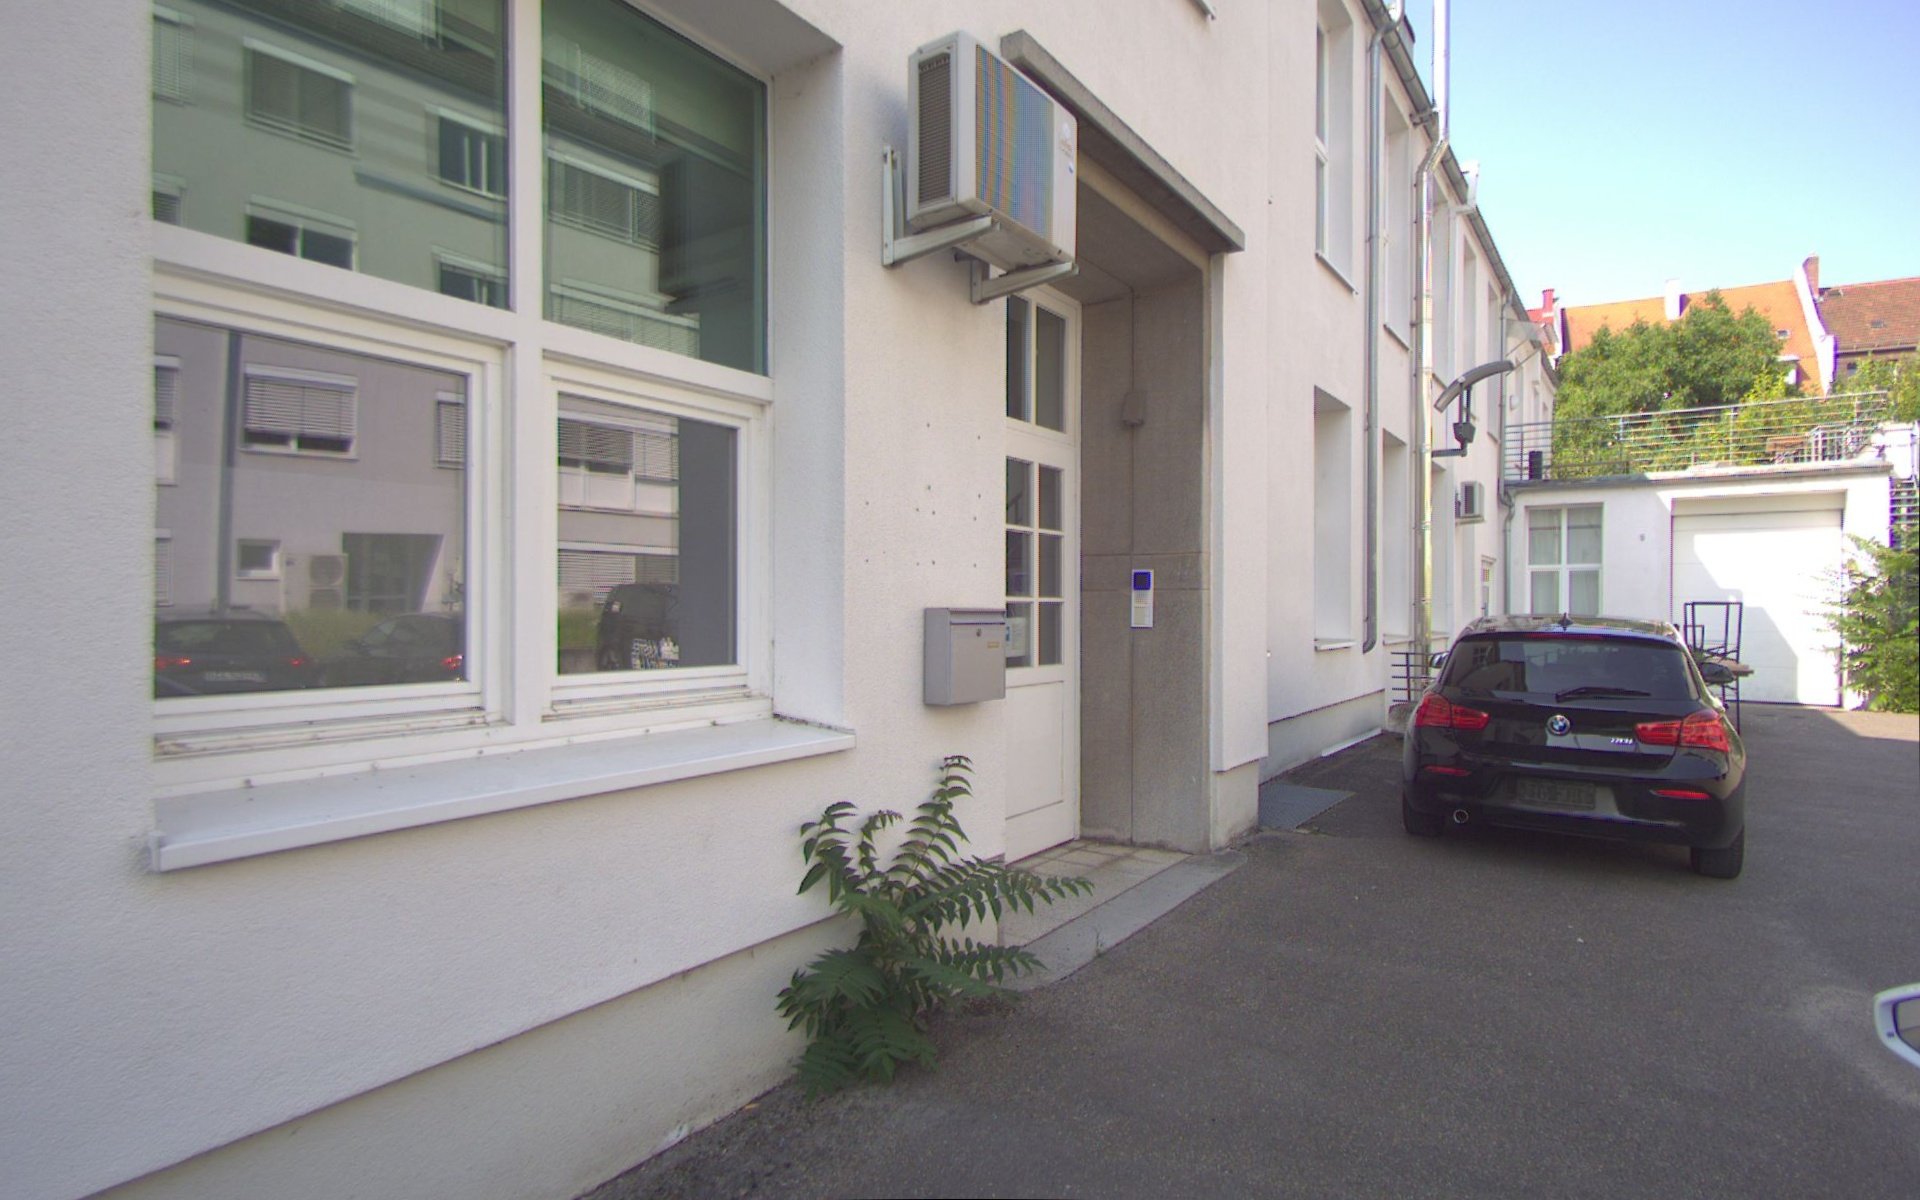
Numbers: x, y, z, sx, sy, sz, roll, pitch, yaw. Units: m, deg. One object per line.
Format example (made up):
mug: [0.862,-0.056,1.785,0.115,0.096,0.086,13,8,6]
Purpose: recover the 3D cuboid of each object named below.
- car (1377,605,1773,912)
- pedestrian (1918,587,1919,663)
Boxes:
car: [4.268,0.775,7.071,1.768,1.447,4.125,1,0,32]
pedestrian: [22.875,0.591,23.235,0.602,1.795,0.856,0,1,-23]
